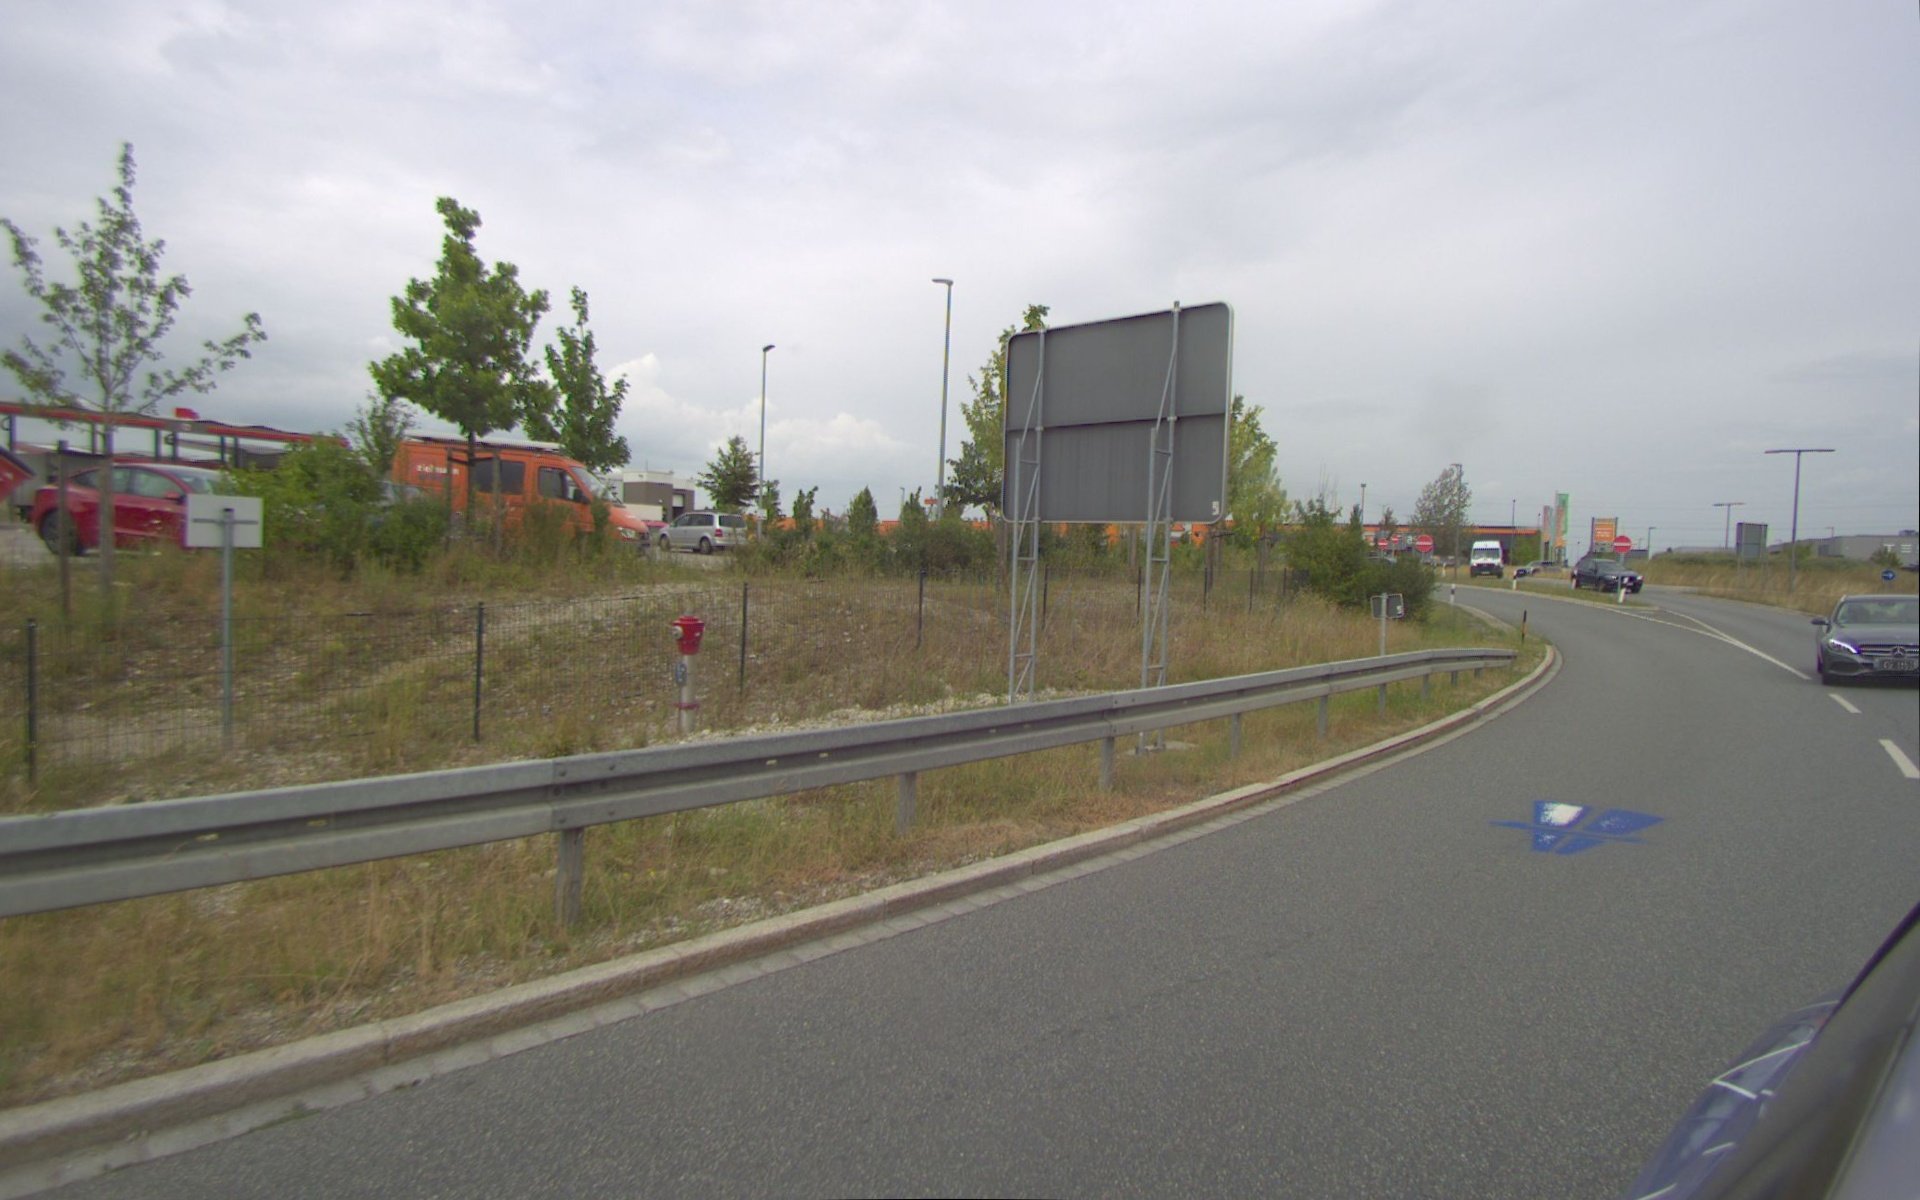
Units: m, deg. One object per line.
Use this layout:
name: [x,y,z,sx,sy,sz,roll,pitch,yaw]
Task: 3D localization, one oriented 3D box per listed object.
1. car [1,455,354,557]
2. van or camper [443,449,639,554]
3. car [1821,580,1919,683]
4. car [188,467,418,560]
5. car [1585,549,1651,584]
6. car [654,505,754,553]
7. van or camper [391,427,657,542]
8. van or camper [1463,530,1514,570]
car: [-11.838,-1.409,15.403,4.516,1.417,1.699,2,3,11]
van or camper: [-14.456,-3.331,34.615,7.691,3.217,2.461,4,3,35]
car: [15.873,0.451,17.115,1.898,1.516,4.278,-1,1,39]
car: [-11.621,-1.521,17.978,3.253,1.398,1.498,4,3,9]
car: [34.917,-1.731,53.828,1.818,1.741,3.979,-1,0,16]
car: [-10.032,-2.728,39.535,4.044,1.742,1.754,2,1,40]
van or camper: [-8.633,-2.265,20.379,4.582,2.022,1.816,1,1,-6]
van or camper: [37.325,-3.518,71.594,2.305,2.682,6.007,1,2,20]
